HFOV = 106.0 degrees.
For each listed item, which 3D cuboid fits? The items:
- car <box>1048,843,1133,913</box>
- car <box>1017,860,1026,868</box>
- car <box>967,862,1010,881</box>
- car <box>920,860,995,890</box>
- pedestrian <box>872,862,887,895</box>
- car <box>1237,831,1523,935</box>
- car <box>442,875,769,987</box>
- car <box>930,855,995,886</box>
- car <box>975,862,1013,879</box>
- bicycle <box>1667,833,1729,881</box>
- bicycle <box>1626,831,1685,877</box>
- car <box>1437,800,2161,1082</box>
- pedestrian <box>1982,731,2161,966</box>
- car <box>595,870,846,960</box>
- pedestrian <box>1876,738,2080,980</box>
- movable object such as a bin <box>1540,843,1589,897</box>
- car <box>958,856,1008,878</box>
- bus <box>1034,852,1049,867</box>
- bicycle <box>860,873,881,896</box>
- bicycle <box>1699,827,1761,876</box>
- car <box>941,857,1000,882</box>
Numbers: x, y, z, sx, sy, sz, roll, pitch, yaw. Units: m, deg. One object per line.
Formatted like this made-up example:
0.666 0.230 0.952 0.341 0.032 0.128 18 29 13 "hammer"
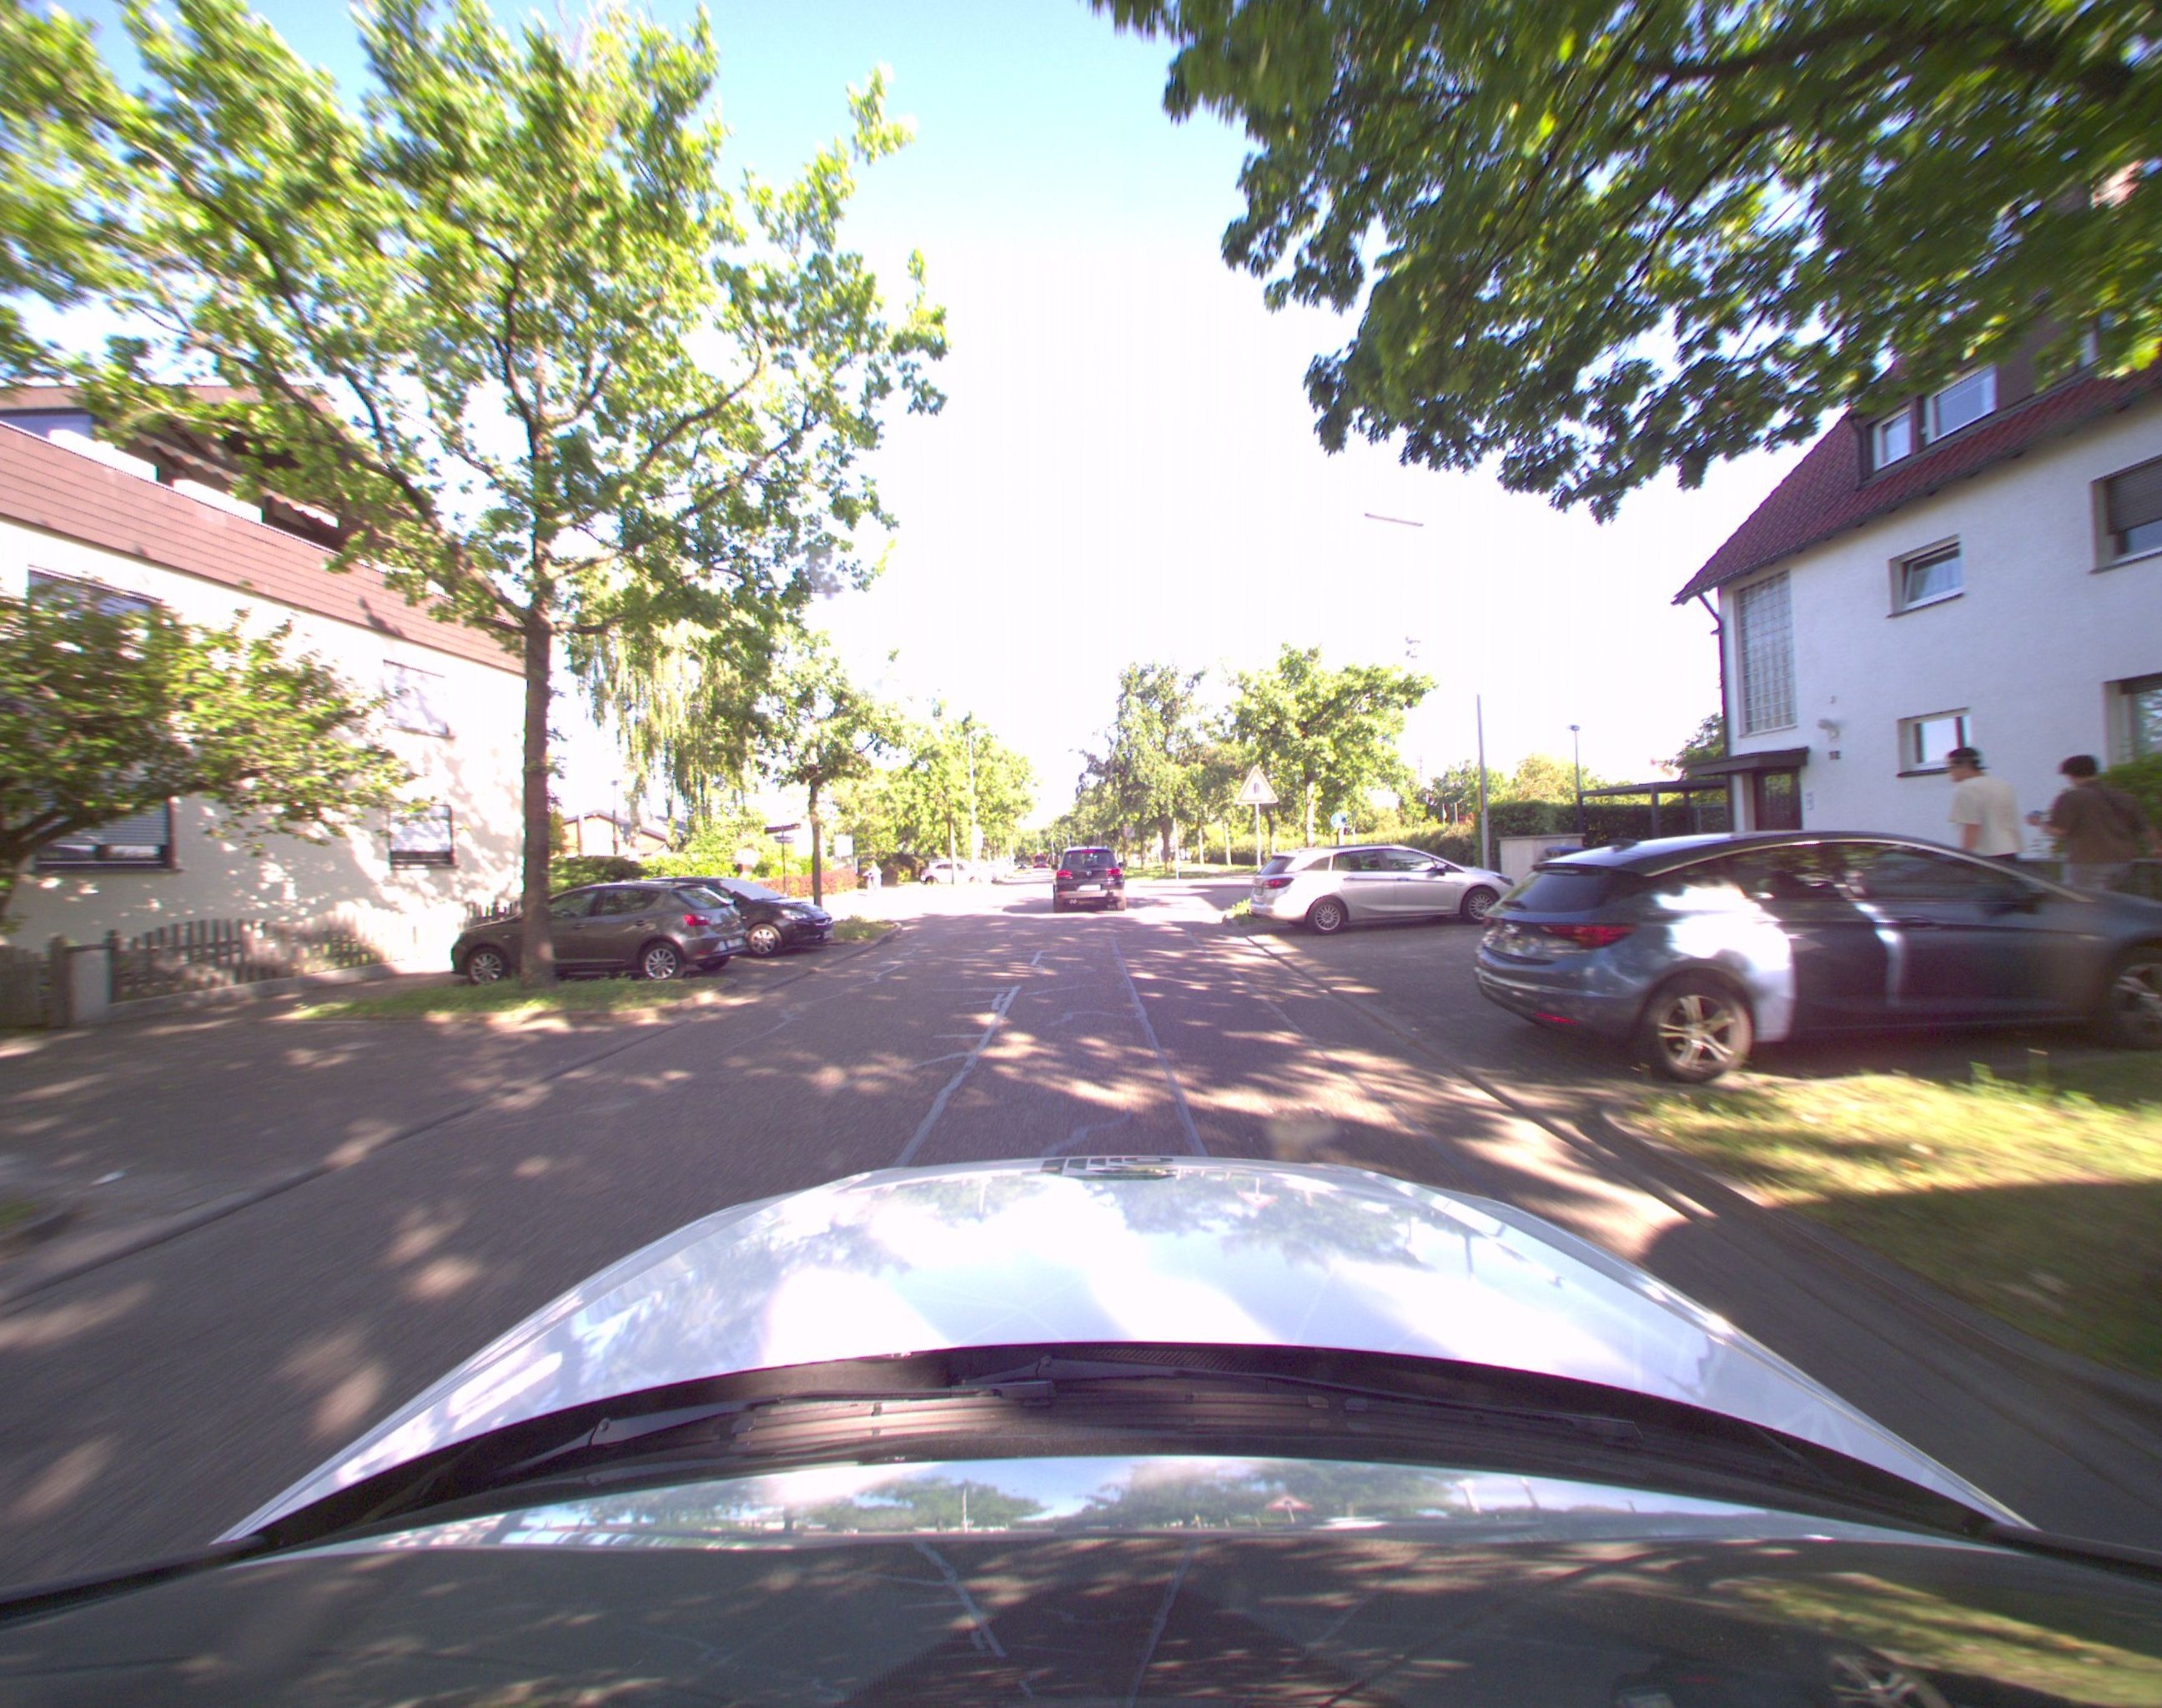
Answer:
0.351 0.578 21.723 1.828 1.636 3.965 -2 0 6 "car"
-13.244 2.212 181.468 1.847 1.693 3.953 -3 -1 -1 "car"
-9.026 1.720 79.911 4.005 1.647 1.810 -3 -1 -2 "car"
-7.397 1.244 49.066 4.231 1.623 1.895 -3 -1 -2 "car"
-9.720 1.165 39.300 0.439 1.557 0.801 -3 -1 2 "pedestrian"
5.146 0.490 14.492 4.410 1.491 1.798 -3 0 3 "car"
-6.951 1.095 12.194 3.805 1.419 1.772 -1 0 1 "car"
-7.910 1.096 54.534 4.006 1.839 1.895 -3 0 -2 "car"
-9.630 1.848 90.253 4.006 1.647 1.810 -3 0 -2 "car"
14.767 0.054 19.478 1.679 1.054 0.527 -3 0 -30 "bicycle"
14.314 -0.002 20.276 1.679 1.054 0.527 -3 0 -30 "bicycle"
5.031 0.504 5.702 4.259 1.503 1.798 -3 0 3 "car"
8.395 -0.041 6.798 0.831 1.828 0.711 -3 -1 4 "pedestrian"
-6.589 1.091 15.160 3.841 1.459 1.715 -2 0 3 "car"
7.481 0.045 6.850 0.605 1.873 0.925 -3 -1 5 "pedestrian"
9.684 0.314 16.339 0.532 1.045 0.700 -3 0 1 "movable object such as a bin"
-8.322 1.128 69.517 4.005 1.647 1.810 -3 -1 -2 "car"
-8.715 1.195 178.813 2.920 3.004 5.733 -3 -1 -1 "bus"
-10.156 1.460 39.342 0.445 1.039 1.893 -3 -1 1 "bicycle"
15.134 -0.067 18.989 1.679 1.054 0.527 -3 0 -30 "bicycle"
-8.058 1.118 59.438 4.005 1.647 1.895 -3 0 -2 "car"
